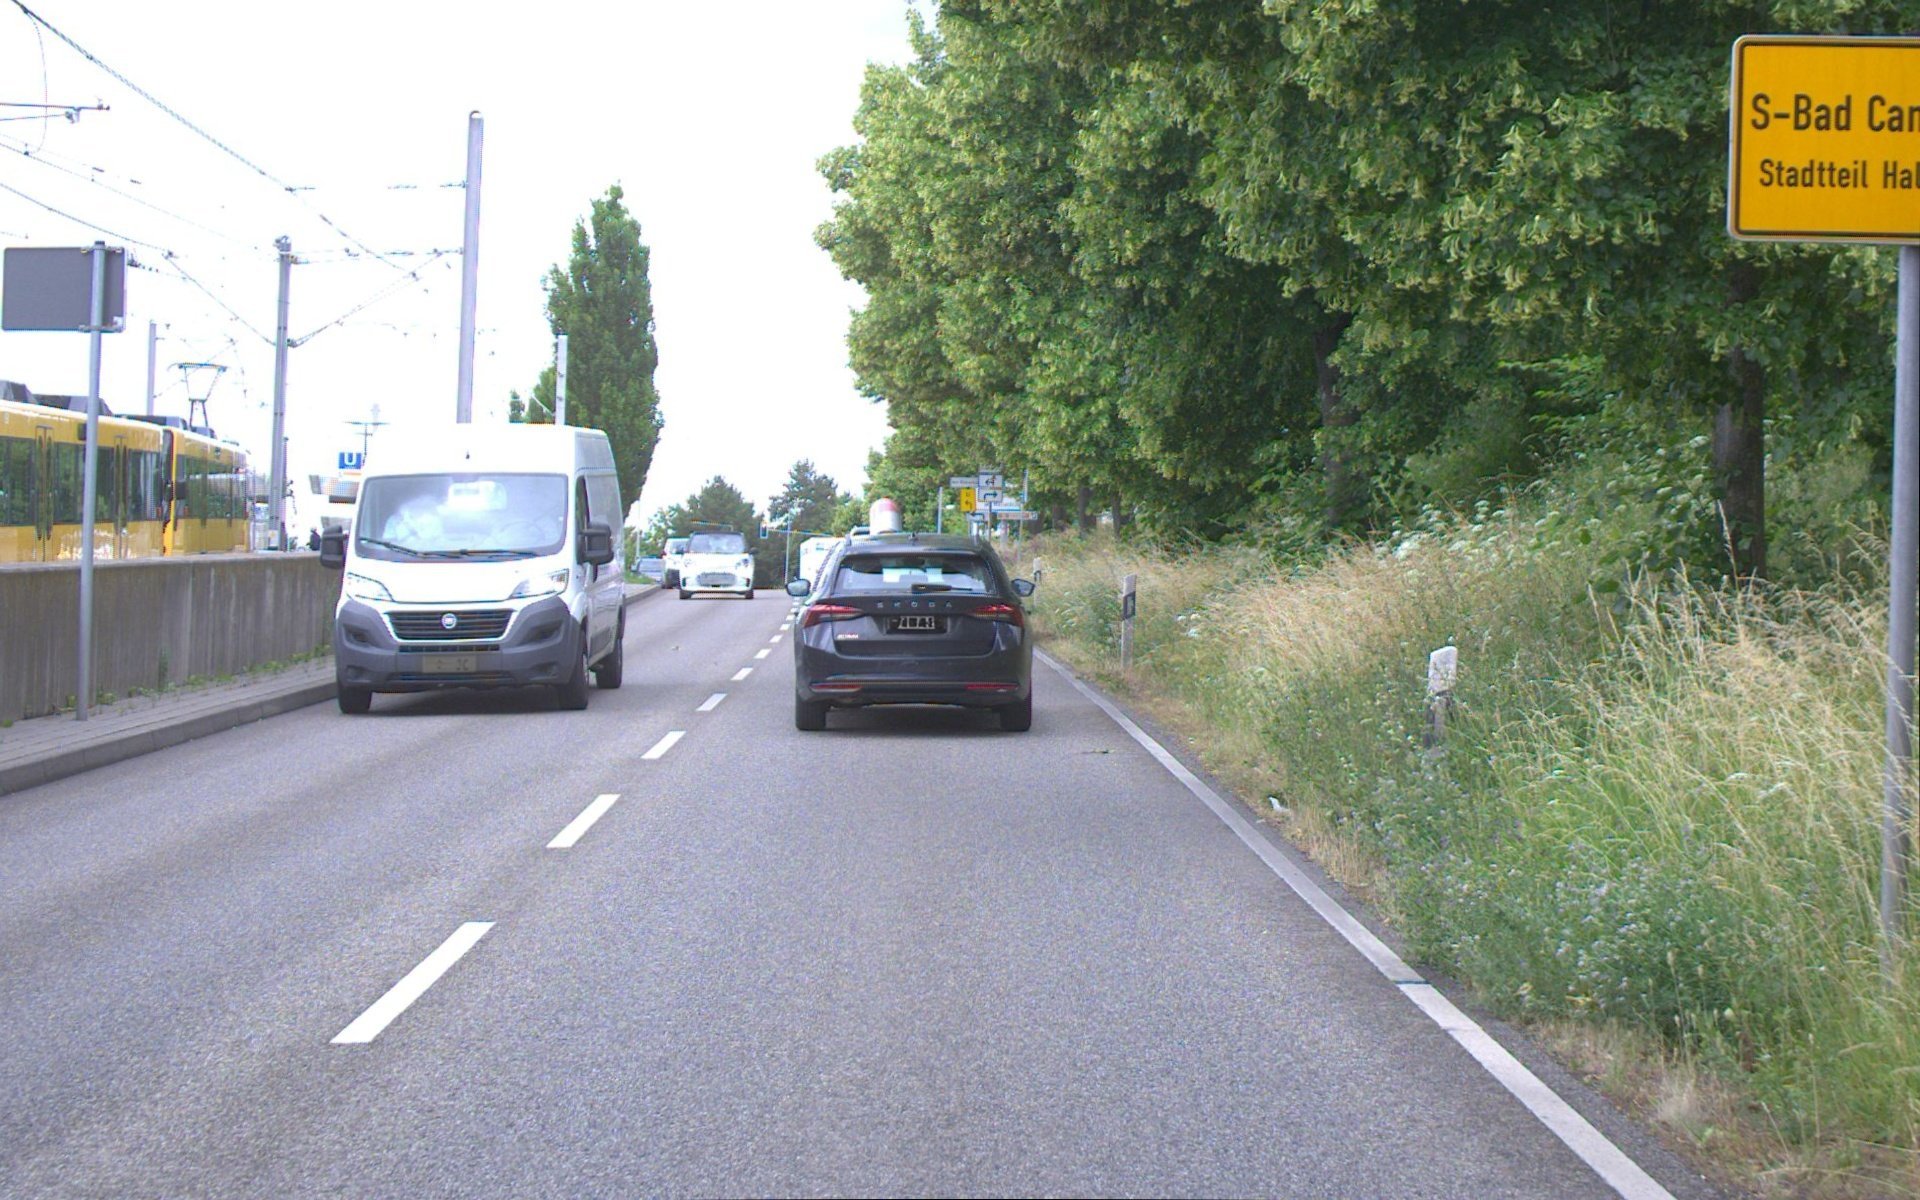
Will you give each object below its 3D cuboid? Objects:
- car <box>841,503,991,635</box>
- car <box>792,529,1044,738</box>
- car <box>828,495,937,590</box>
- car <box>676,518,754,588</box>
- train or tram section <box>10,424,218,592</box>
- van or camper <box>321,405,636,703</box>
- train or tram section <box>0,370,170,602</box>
[{"bbox_3d":[-0.620,-0.459,47.861,1.993,1.747,4.000,0,1,-1],"label":"car"},{"bbox_3d":[-0.328,0.195,26.378,1.781,1.463,4.000,0,1,-1],"label":"car"},{"bbox_3d":[-1.447,-1.068,65.118,1.993,1.734,4.000,0,1,-1],"label":"car"},{"bbox_3d":[-5.627,-1.097,78.863,1.731,1.566,4.001,-1,1,-4],"label":"car"},{"bbox_3d":[-17.298,-1.760,71.512,2.800,3.015,19.313,0,1,-10],"label":"train or tram section"},{"bbox_3d":[-4.170,-0.439,30.776,2.082,2.388,6.138,0,1,-1],"label":"van or camper"},{"bbox_3d":[-14.800,-1.589,52.680,2.803,3.066,19.106,0,1,-6],"label":"train or tram section"}]
